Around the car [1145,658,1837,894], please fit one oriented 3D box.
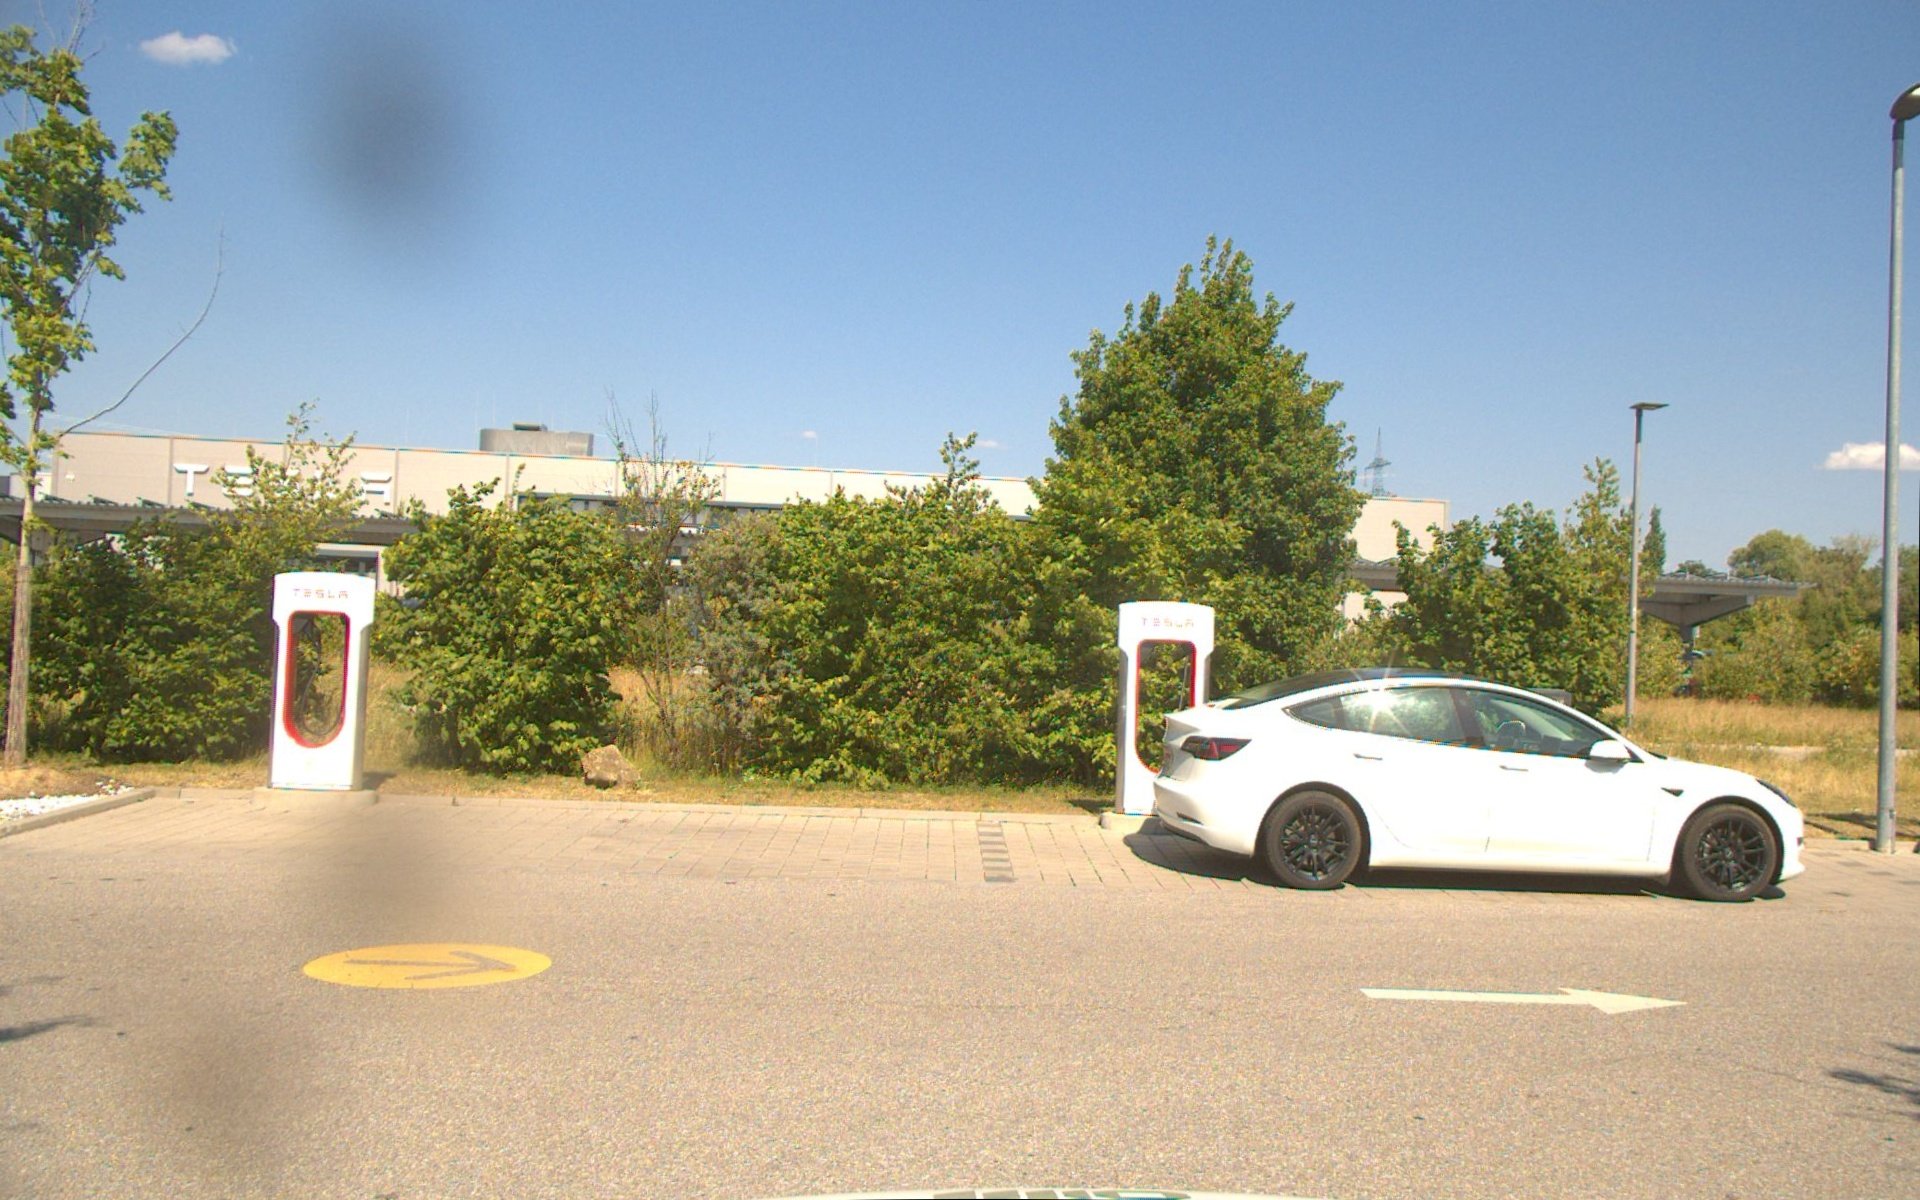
[{"bbox_3d":[3.619,1.195,11.826,4.344,1.402,1.822,2,-1,-1],"label":"car"}]
